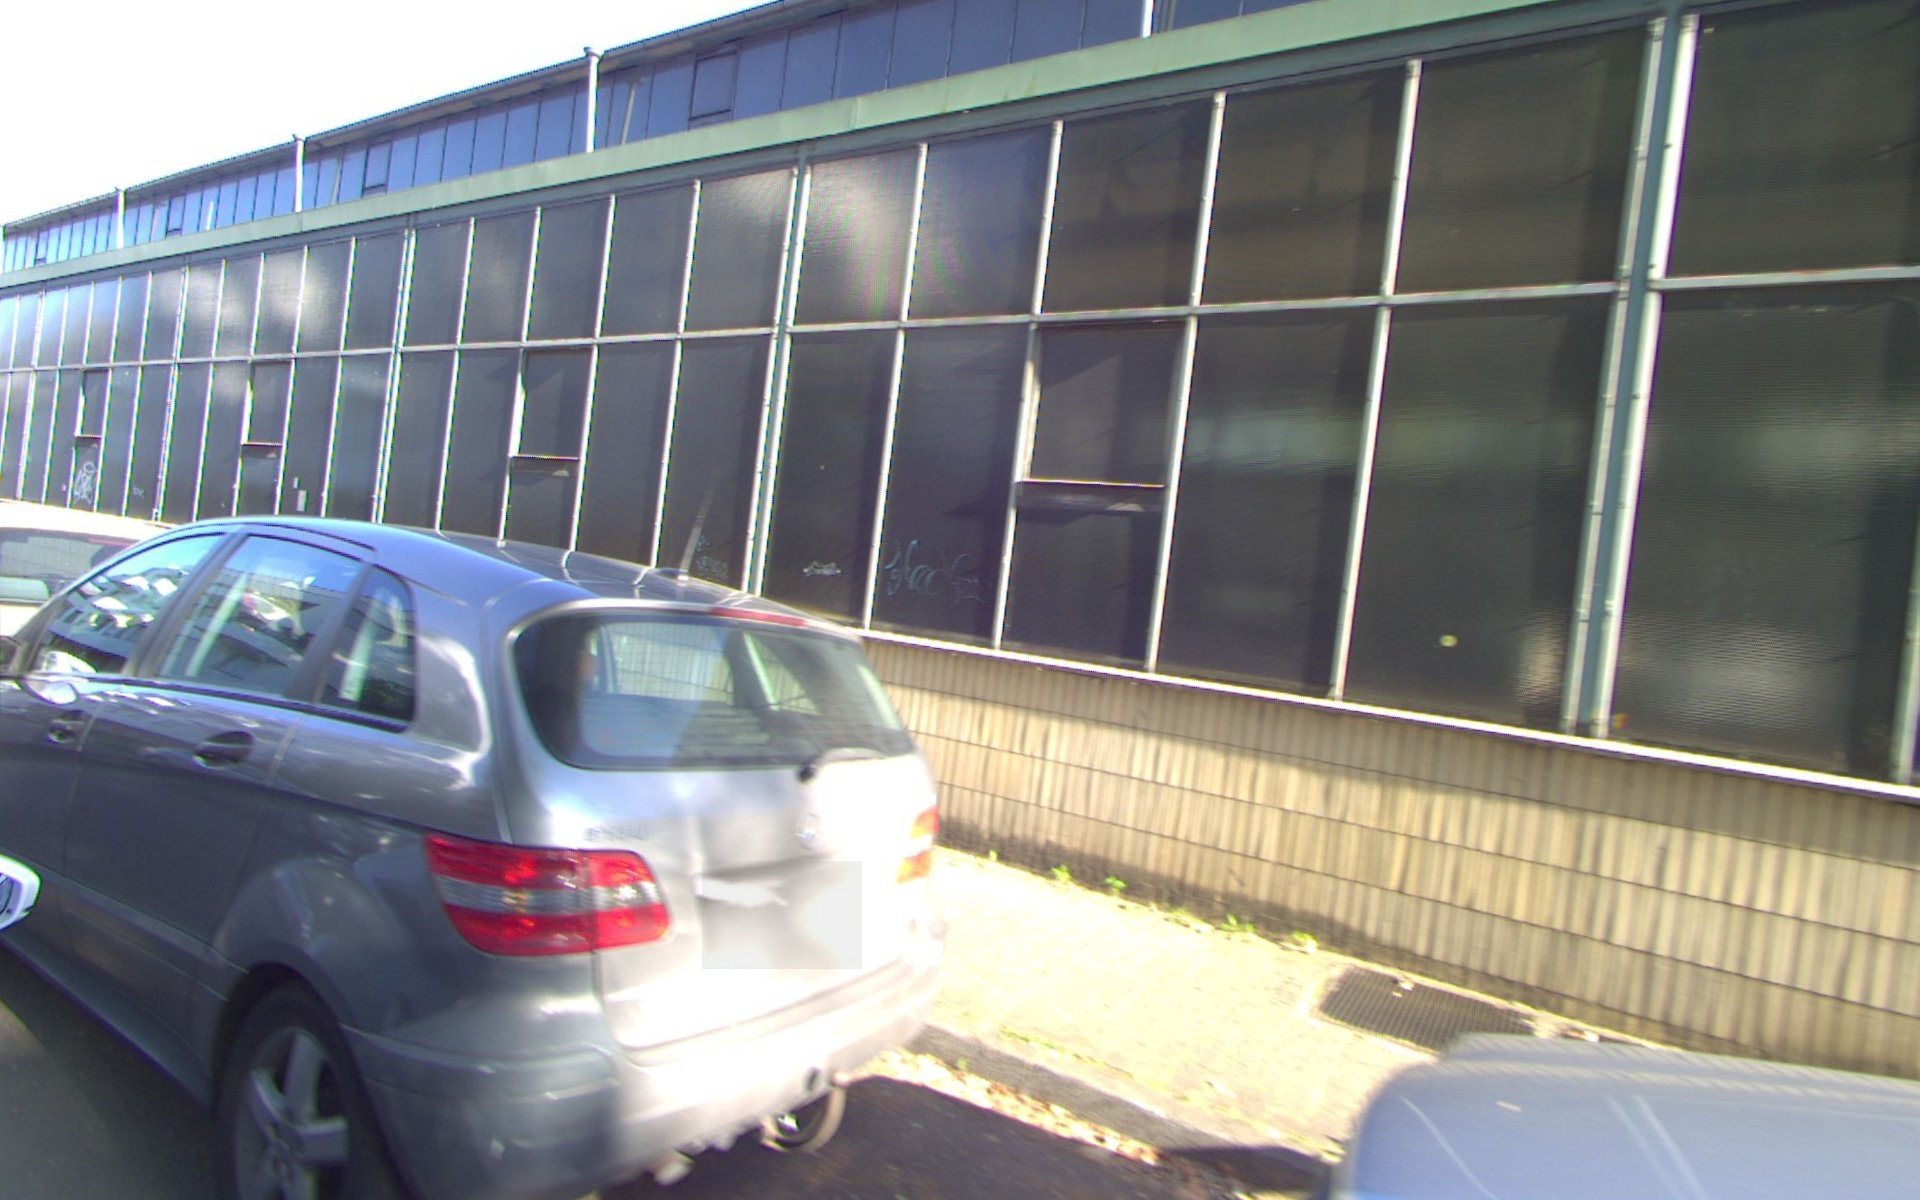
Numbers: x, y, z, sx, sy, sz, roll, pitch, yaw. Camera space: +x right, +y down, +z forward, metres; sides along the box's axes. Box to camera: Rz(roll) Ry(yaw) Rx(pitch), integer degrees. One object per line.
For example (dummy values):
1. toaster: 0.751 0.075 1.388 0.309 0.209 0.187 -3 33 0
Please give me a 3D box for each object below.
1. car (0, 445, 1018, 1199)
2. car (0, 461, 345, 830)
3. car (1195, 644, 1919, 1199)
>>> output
1. car: -2.151 0.487 3.535 4.238 1.653 1.754 6 -2 32
2. car: -5.732 0.087 5.962 3.934 1.653 1.755 6 -2 30
3. car: 2.562 1.100 0.639 4.452 1.510 1.905 6 -2 30
